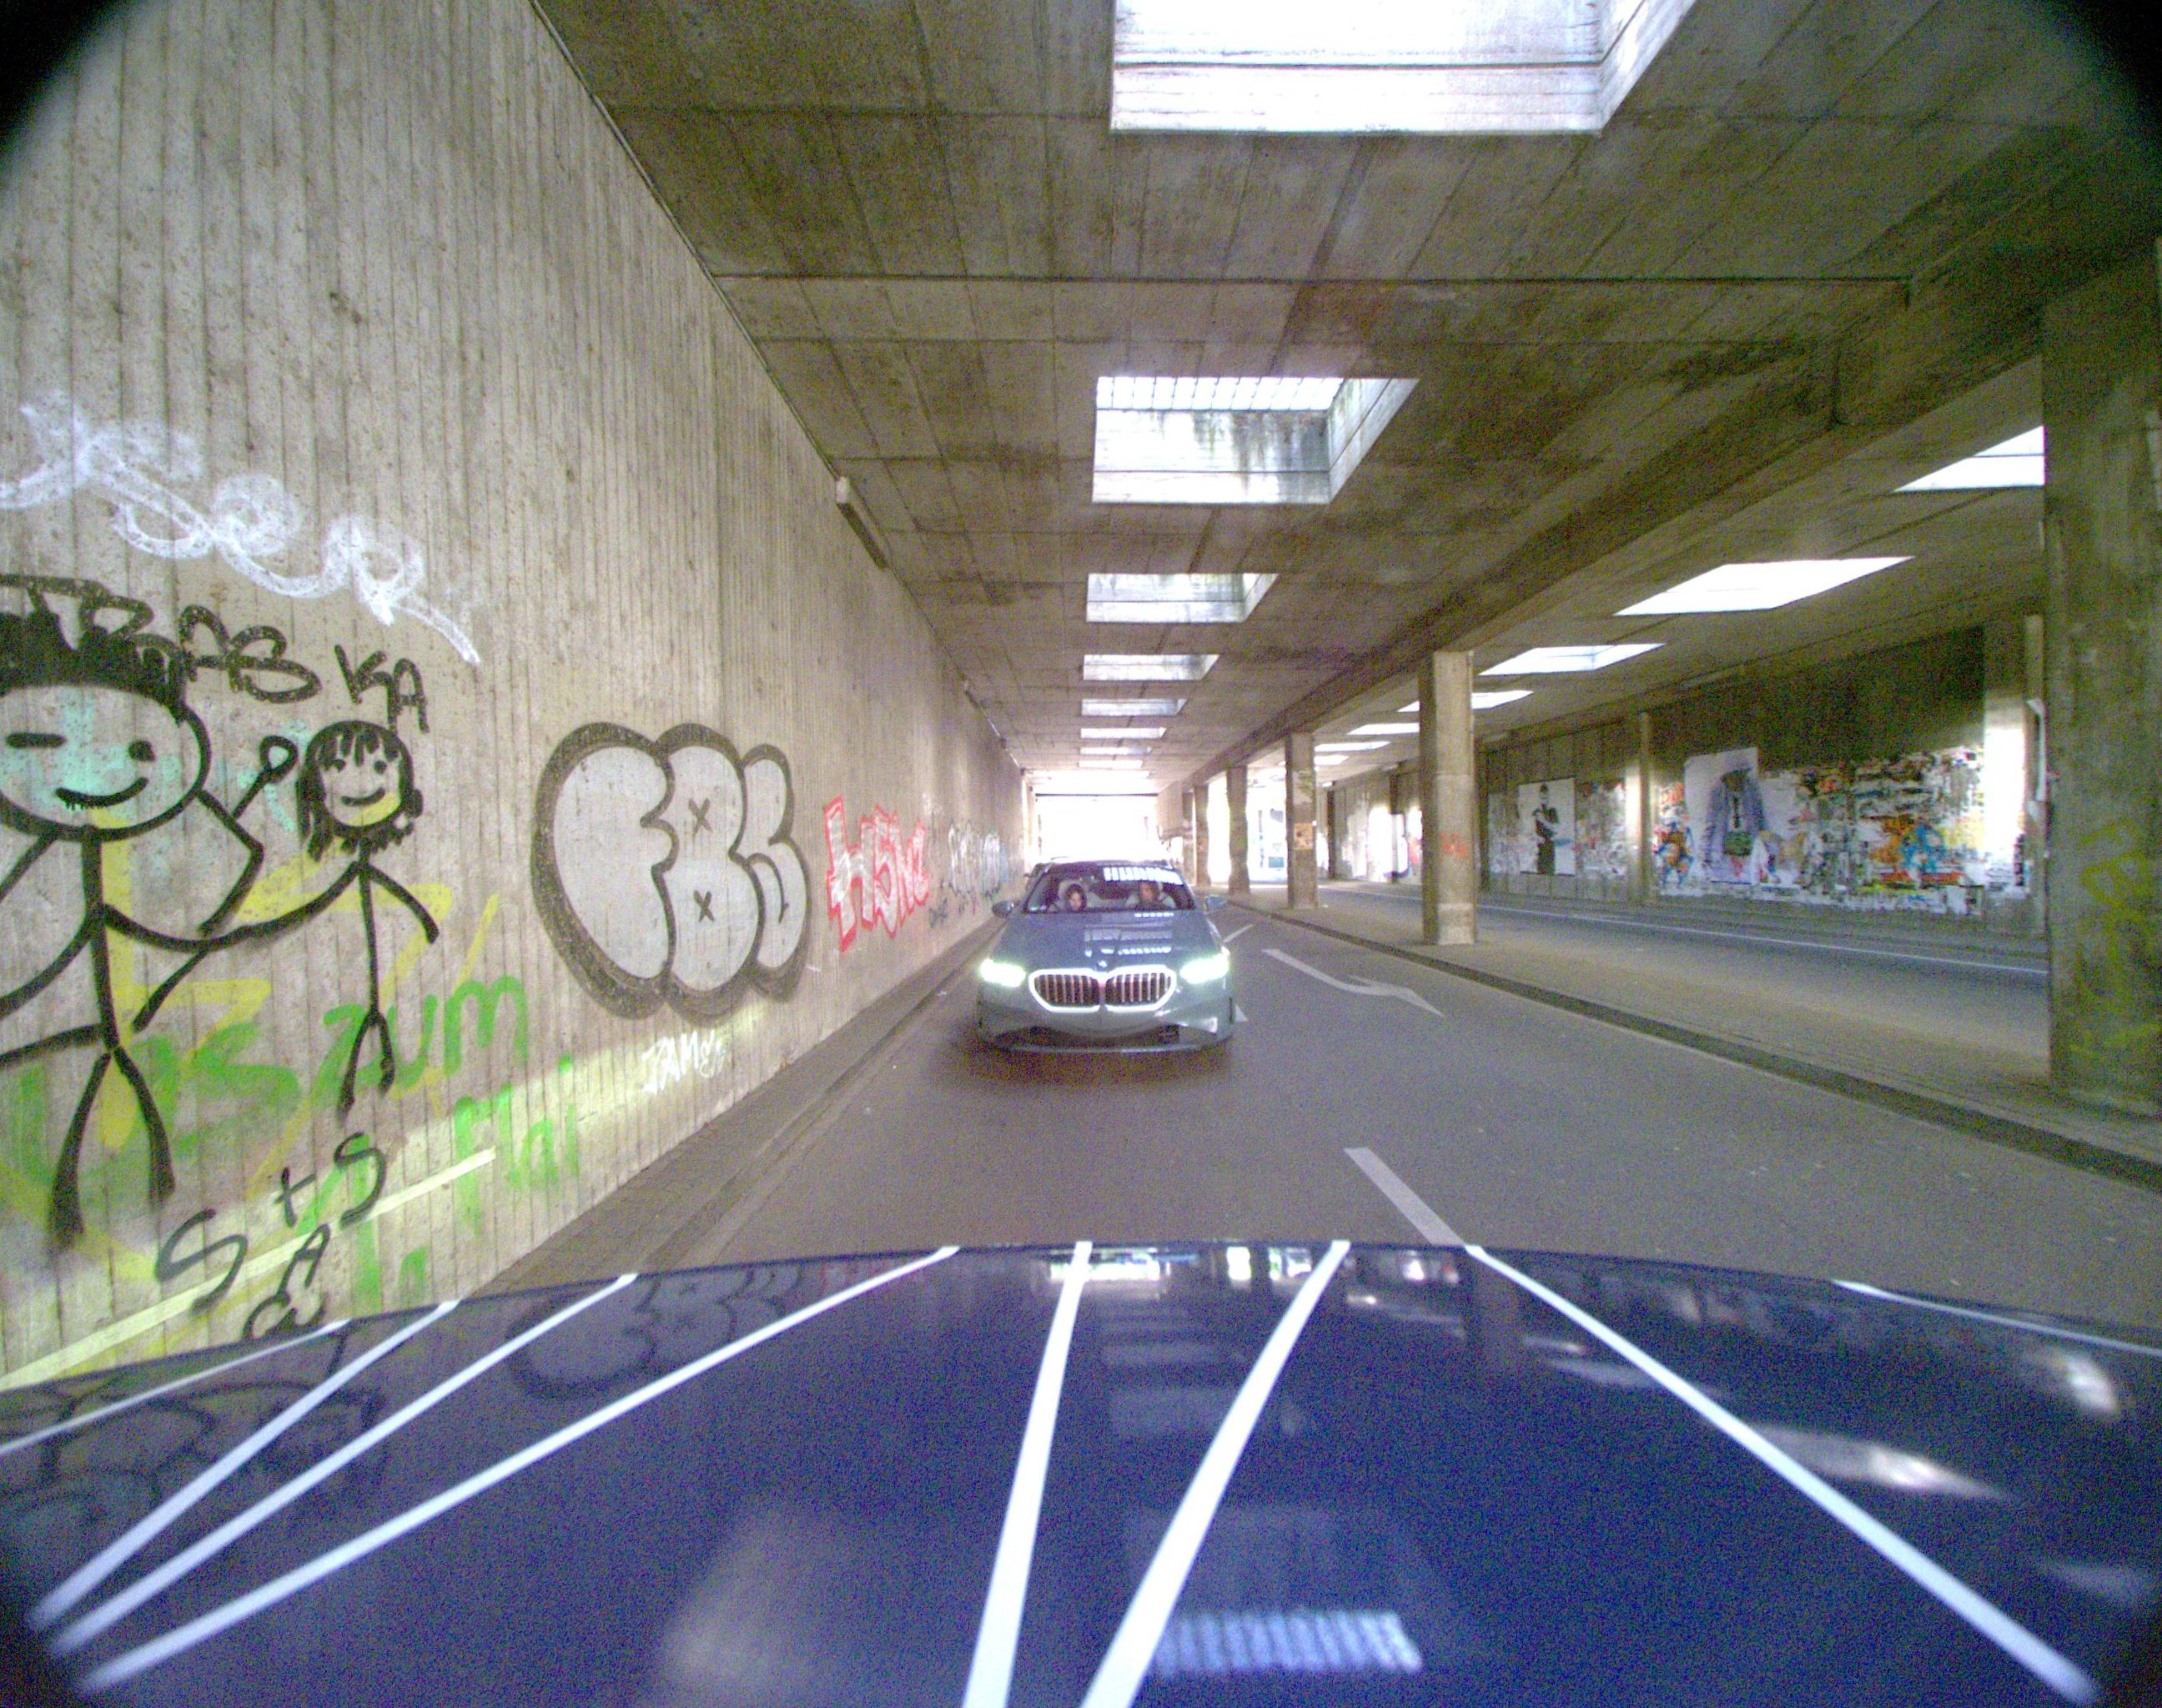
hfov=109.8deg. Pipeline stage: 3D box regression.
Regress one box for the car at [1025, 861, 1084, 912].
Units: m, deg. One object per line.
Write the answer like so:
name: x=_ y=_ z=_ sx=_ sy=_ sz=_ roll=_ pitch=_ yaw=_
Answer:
car: x=-0.763 y=0.951 z=23.844 sx=1.616 sy=1.367 sz=4.199 roll=-1 pitch=0 yaw=1

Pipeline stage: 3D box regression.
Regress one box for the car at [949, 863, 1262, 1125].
car: x=0.190 y=0.924 z=7.339 sx=1.957 sy=1.546 sz=5.040 roll=-1 pitch=0 yaw=1

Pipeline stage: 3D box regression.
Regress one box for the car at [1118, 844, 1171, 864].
car: x=6.036 y=0.027 z=72.821 sx=4.814 sy=1.823 sz=1.999 roll=-1 pitch=0 yaw=-4

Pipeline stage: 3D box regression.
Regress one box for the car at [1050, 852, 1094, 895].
car: x=-0.308 y=0.725 z=30.020 sx=1.616 sy=1.546 sz=4.013 roll=-1 pitch=0 yaw=1

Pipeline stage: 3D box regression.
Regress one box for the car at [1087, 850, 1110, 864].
car: x=1.940 y=0.301 z=85.547 sx=1.934 sy=1.543 sz=3.997 roll=-1 pitch=0 yaw=-7

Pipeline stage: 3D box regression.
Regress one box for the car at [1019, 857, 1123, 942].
car: x=-0.162 y=0.872 z=16.563 sx=1.957 sy=1.546 sz=4.247 roll=-1 pitch=0 yaw=1
